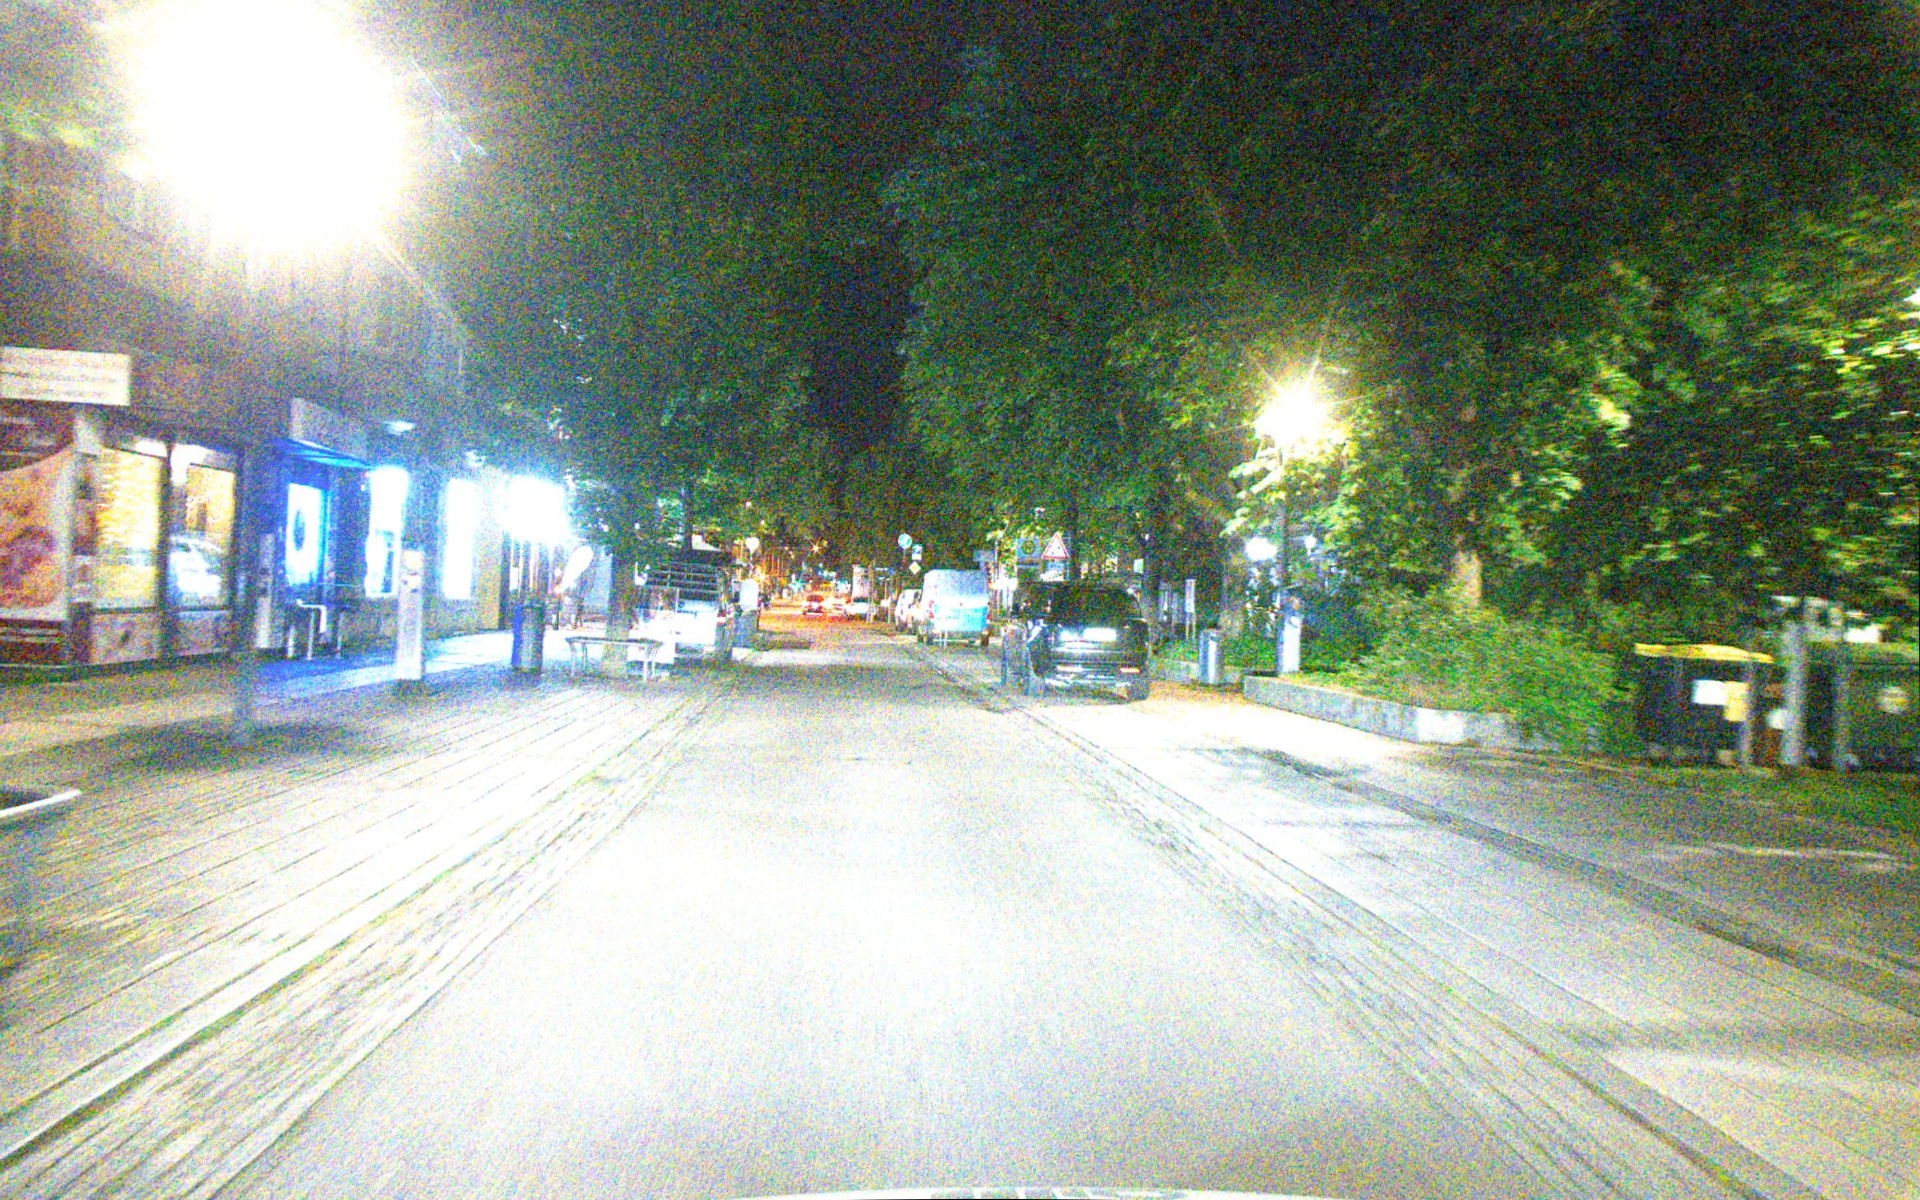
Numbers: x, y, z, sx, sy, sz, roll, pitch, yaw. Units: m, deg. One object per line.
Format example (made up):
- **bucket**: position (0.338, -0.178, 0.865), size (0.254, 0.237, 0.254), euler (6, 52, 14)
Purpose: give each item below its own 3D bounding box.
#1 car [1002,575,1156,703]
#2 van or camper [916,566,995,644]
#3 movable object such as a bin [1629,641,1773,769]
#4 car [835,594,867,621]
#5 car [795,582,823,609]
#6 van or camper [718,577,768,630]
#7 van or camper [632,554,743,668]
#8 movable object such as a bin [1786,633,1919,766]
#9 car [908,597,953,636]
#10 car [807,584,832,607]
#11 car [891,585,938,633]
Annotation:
- **car**: position (1.842, 0.582, 26.909), size (1.779, 1.860, 4.342), euler (2, 0, -5)
- **van or camper**: position (-0.191, 0.143, 52.889), size (2.068, 2.358, 4.257), euler (1, 0, -6)
- **movable object such as a bin**: position (8.404, 1.175, 18.796), size (1.083, 1.329, 1.009), euler (3, -1, -6)
- **car**: position (-6.562, 0.433, 99.101), size (1.803, 1.569, 3.842), euler (2, 0, -4)
- **car**: position (-11.068, -0.317, 121.098), size (1.955, 1.855, 3.995), euler (2, 0, -5)
- **van or camper**: position (-8.954, 0.139, 67.931), size (1.899, 2.023, 3.838), euler (2, 0, -8)
- **van or camper**: position (-5.457, 0.203, 33.561), size (1.831, 2.046, 4.257), euler (4, 0, -6)
- **movable object such as a bin**: position (10.412, 1.122, 19.017), size (1.236, 1.444, 1.117), euler (2, -1, -4)
- **car**: position (-1.196, 0.619, 65.741), size (1.501, 1.443, 3.842), euler (2, 0, -4)
- **car**: position (-12.125, -0.390, 142.522), size (1.955, 1.855, 3.995), euler (2, 0, -6)
- **car**: position (-1.997, 0.367, 71.478), size (1.803, 1.934, 3.842), euler (2, 0, -4)
